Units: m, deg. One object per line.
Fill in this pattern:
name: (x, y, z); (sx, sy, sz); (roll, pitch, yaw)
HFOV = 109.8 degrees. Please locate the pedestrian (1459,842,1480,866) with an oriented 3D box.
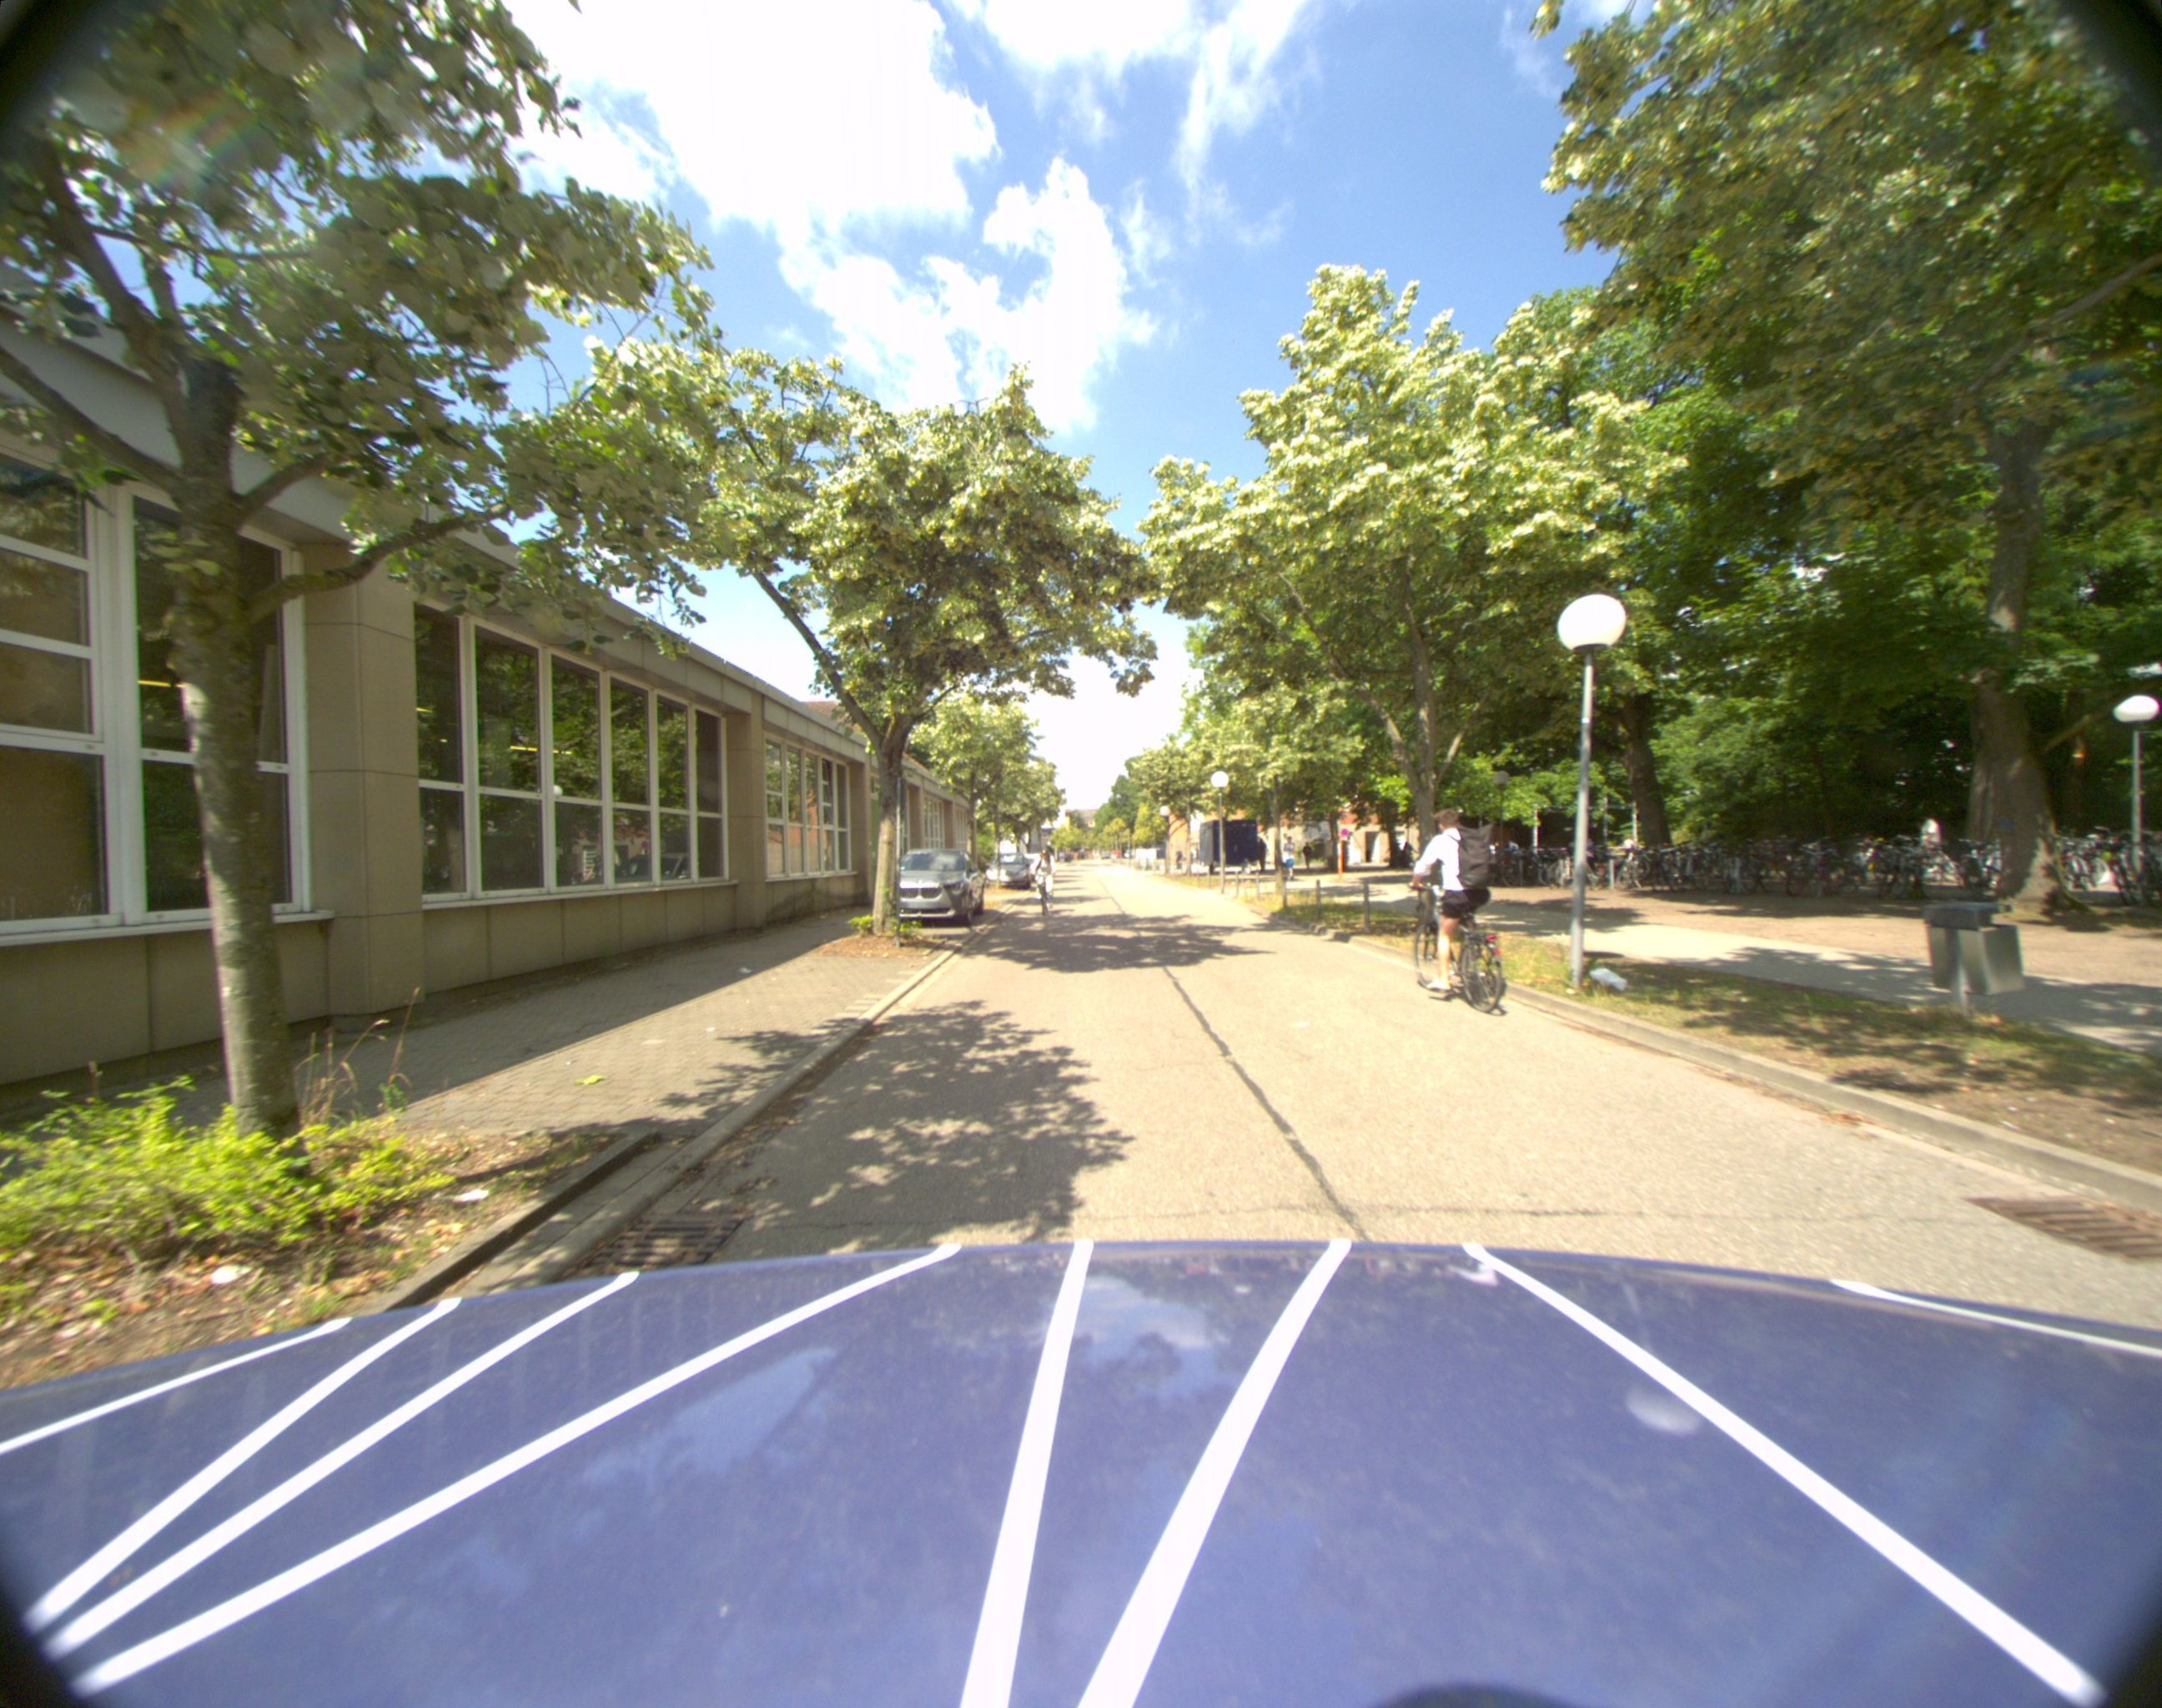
pedestrian: (20.791, 0.013, 40.668); (0.596, 1.226, 0.741); (-2, -1, -34)

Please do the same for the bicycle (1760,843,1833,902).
bicycle: (14.966, 0.352, 15.856); (2.757, 1.080, 0.880); (-2, 1, -42)

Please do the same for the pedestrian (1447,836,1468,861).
pedestrian: (20.582, -0.302, 41.531); (0.596, 1.361, 0.741); (-2, -1, -34)

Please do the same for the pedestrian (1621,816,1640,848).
pedestrian: (24.629, -0.992, 34.058); (0.507, 1.414, 0.460); (-2, 1, -10)

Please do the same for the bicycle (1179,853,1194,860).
bicycle: (14.753, 0.359, 106.025); (1.955, 1.024, 0.518); (-1, 1, -1)

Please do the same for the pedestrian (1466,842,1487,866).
pedestrian: (21.335, -0.008, 40.976); (0.596, 1.226, 0.741); (-2, -1, -34)

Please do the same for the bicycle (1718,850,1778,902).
bicycle: (14.826, 0.464, 16.863); (2.656, 1.002, 0.676); (-2, 1, -42)

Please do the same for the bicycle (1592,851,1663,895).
bicycle: (13.620, 0.461, 18.927); (1.894, 1.003, 0.676); (-2, 1, -30)

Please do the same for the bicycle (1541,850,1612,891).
bicycle: (13.295, 0.431, 20.365); (2.157, 1.003, 0.676); (-2, 1, -30)

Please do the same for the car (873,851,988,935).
car: (-3.266, 0.757, 17.397); (1.827, 1.654, 4.583); (0, 0, -2)

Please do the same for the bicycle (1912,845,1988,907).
bicycle: (16.495, 0.379, 14.468); (2.789, 1.009, 0.880); (-2, 1, -42)

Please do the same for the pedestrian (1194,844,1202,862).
pedestrian: (11.842, -0.127, 76.851); (0.577, 1.769, 0.917); (-2, 1, 0)

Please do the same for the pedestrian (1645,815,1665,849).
pedestrian: (25.750, -0.987, 34.076); (0.507, 1.514, 0.473); (-2, 1, -11)

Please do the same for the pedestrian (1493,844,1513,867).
pedestrian: (24.184, 0.074, 43.575); (0.689, 1.315, 0.778); (-1, 1, 2)

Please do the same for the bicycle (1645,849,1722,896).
bicycle: (14.402, 0.420, 18.145); (2.157, 1.003, 0.676); (-2, 1, -30)

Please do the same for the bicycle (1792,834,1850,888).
bicycle: (18.457, 0.163, 18.935); (2.064, 1.227, 0.638); (-3, 1, -35)

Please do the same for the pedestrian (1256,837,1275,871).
pedestrian: (10.909, -0.025, 44.961); (0.919, 1.943, 0.892); (-3, 1, 10)

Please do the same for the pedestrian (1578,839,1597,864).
pedestrian: (24.817, -0.111, 37.231); (0.392, 1.187, 0.730); (-2, 1, -9)

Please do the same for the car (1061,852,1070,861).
car: (-2.756, 0.438, 132.495); (1.552, 1.377, 3.453); (-1, 0, -1)

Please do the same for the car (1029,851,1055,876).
car: (-2.758, 0.624, 52.879); (1.651, 1.383, 3.985); (-3, 3, -5)

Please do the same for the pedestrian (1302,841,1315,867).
pedestrian: (14.462, 0.008, 48.332); (0.632, 1.656, 0.643); (-2, 1, 1)

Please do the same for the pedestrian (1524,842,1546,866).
pedestrian: (23.573, 0.007, 39.484); (0.570, 1.243, 0.766); (-2, 1, -11)

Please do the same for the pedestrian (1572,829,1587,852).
pedestrian: (24.750, -0.662, 37.753); (0.336, 1.133, 0.506); (-2, 1, -11)

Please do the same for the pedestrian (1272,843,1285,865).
pedestrian: (13.995, 0.019, 53.879); (0.745, 1.500, 0.499); (-2, 1, 1)

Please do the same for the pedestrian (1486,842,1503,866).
pedestrian: (23.167, 0.000, 42.599); (0.561, 1.264, 0.693); (-2, 1, 1)

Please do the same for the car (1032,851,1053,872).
car: (-2.994, 0.546, 59.311); (1.591, 1.458, 3.987); (-1, 2, -2)

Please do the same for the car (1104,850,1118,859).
car: (7.399, 0.158, 187.936); (2.023, 2.079, 4.439); (-1, 0, 21)

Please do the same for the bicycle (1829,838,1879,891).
bicycle: (18.724, 0.239, 18.381); (2.063, 1.126, 0.478); (-5, 2, -35)

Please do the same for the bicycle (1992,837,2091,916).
bicycle: (16.877, 0.350, 13.413); (2.914, 1.213, 0.880); (-2, 1, -42)

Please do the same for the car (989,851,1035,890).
car: (-2.948, 0.666, 33.091); (1.708, 1.565, 4.139); (0, 0, -1)

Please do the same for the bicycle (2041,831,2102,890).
bicycle: (20.404, 0.114, 15.641); (2.064, 1.126, 0.638); (-3, 0, -35)

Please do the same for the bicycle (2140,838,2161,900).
bicycle: (21.082, 0.262, 14.703); (2.064, 1.126, 0.638); (-2, 0, -35)

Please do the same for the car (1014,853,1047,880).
car: (-2.903, 0.678, 44.633); (1.730, 1.458, 4.671); (0, 0, -2)

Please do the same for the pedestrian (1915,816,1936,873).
pedestrian: (24.217, -0.263, 21.788); (0.350, 1.605, 0.462); (-1, 1, 42)

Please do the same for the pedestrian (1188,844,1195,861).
pedestrian: (11.176, -0.130, 76.953); (0.564, 1.752, 0.805); (-1, 1, 0)

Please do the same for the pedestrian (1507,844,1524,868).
pedestrian: (24.352, 0.112, 42.574); (0.646, 1.315, 0.559); (-1, 1, 2)

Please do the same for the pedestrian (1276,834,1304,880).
pedestrian: (8.526, 0.136, 31.050); (0.801, 1.820, 0.986); (-2, 1, 1)

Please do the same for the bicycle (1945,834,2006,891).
bicycle: (19.500, 0.162, 16.558); (2.064, 1.151, 0.638); (-2, 0, -35)

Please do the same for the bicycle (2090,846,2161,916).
bicycle: (17.627, 0.409, 12.565); (2.739, 0.997, 0.880); (-2, 1, -42)

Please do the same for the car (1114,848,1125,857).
car: (8.238, -0.241, 161.466); (1.912, 1.870, 4.002); (-1, 0, 7)

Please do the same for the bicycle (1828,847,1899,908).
bicycle: (15.692, 0.432, 15.203); (2.839, 1.044, 0.880); (-2, 1, -42)

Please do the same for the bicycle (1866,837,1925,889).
bicycle: (19.183, 0.188, 17.885); (2.064, 1.126, 0.638); (-2, 0, -35)

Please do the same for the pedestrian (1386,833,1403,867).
pedestrian: (16.981, -0.227, 41.213); (0.531, 1.837, 0.806); (-2, 1, 1)
